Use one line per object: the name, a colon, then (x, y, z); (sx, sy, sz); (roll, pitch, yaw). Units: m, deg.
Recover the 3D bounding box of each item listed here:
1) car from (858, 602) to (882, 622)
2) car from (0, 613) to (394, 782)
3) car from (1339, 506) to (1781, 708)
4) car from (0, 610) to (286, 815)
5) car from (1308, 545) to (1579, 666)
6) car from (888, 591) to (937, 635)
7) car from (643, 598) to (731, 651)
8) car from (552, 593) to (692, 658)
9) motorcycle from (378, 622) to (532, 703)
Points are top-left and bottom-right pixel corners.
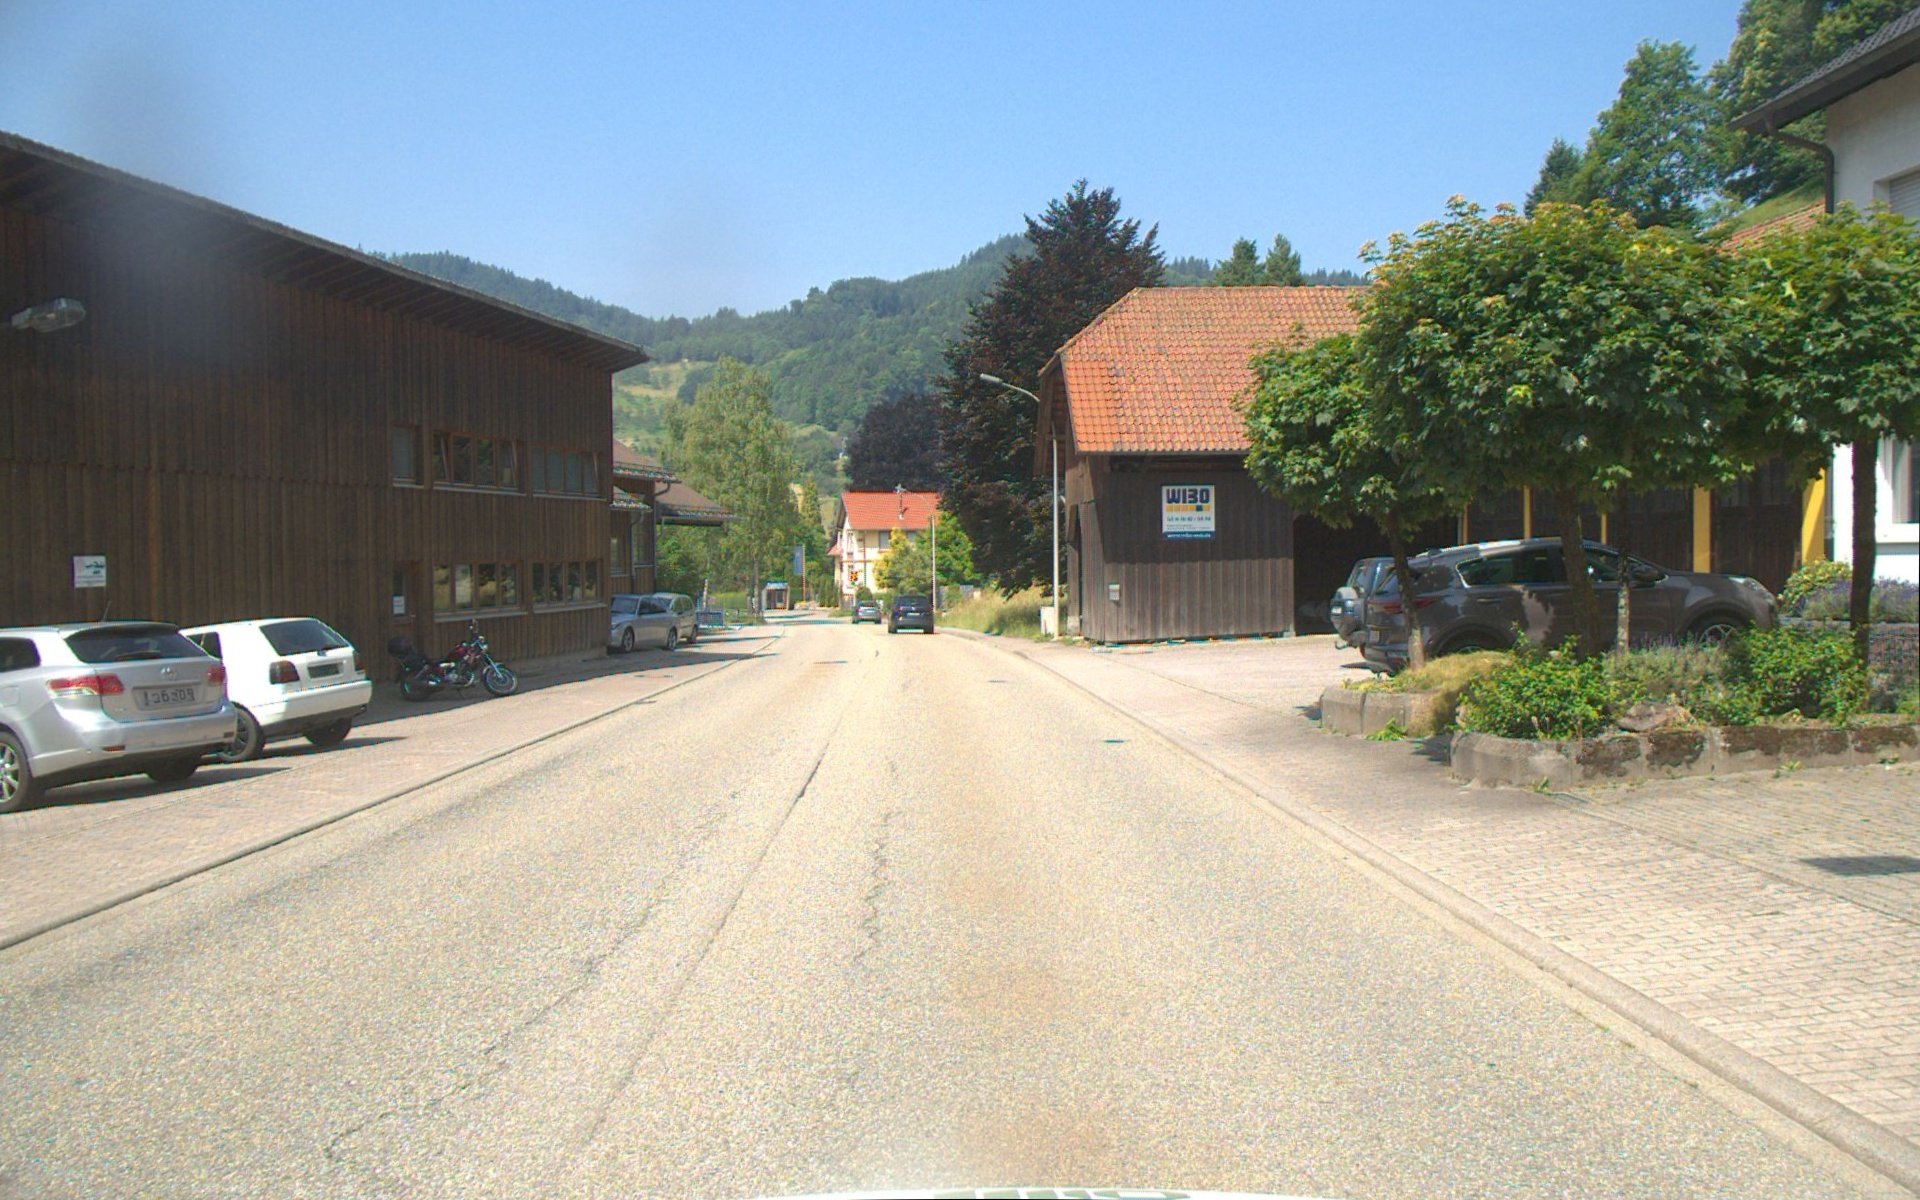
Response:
car: (-5.892, 0.775, 108.365); (1.448, 1.230, 2.381); (-2, 0, -6)
car: (-8.129, 1.017, 17.521); (3.582, 1.409, 1.712); (-5, -1, 14)
car: (6.522, 0.072, 18.335); (4.135, 1.716, 1.777); (-6, 0, 2)
car: (-8.378, 1.035, 14.650); (4.341, 1.500, 1.924); (-5, 0, 24)
car: (8.308, 0.083, 28.639); (4.046, 1.864, 1.952); (-2, 0, -5)
car: (-2.028, 0.544, 69.674); (1.881, 1.728, 3.786); (-2, 0, -3)
car: (-8.898, 0.774, 54.210); (1.547, 1.597, 4.026); (2, 1, 10)
car: (-8.523, 0.611, 42.177); (1.692, 1.479, 4.809); (0, 1, 12)
motorcycle: (-8.551, 1.058, 28.034); (2.357, 1.286, 0.744); (-2, 0, 8)
